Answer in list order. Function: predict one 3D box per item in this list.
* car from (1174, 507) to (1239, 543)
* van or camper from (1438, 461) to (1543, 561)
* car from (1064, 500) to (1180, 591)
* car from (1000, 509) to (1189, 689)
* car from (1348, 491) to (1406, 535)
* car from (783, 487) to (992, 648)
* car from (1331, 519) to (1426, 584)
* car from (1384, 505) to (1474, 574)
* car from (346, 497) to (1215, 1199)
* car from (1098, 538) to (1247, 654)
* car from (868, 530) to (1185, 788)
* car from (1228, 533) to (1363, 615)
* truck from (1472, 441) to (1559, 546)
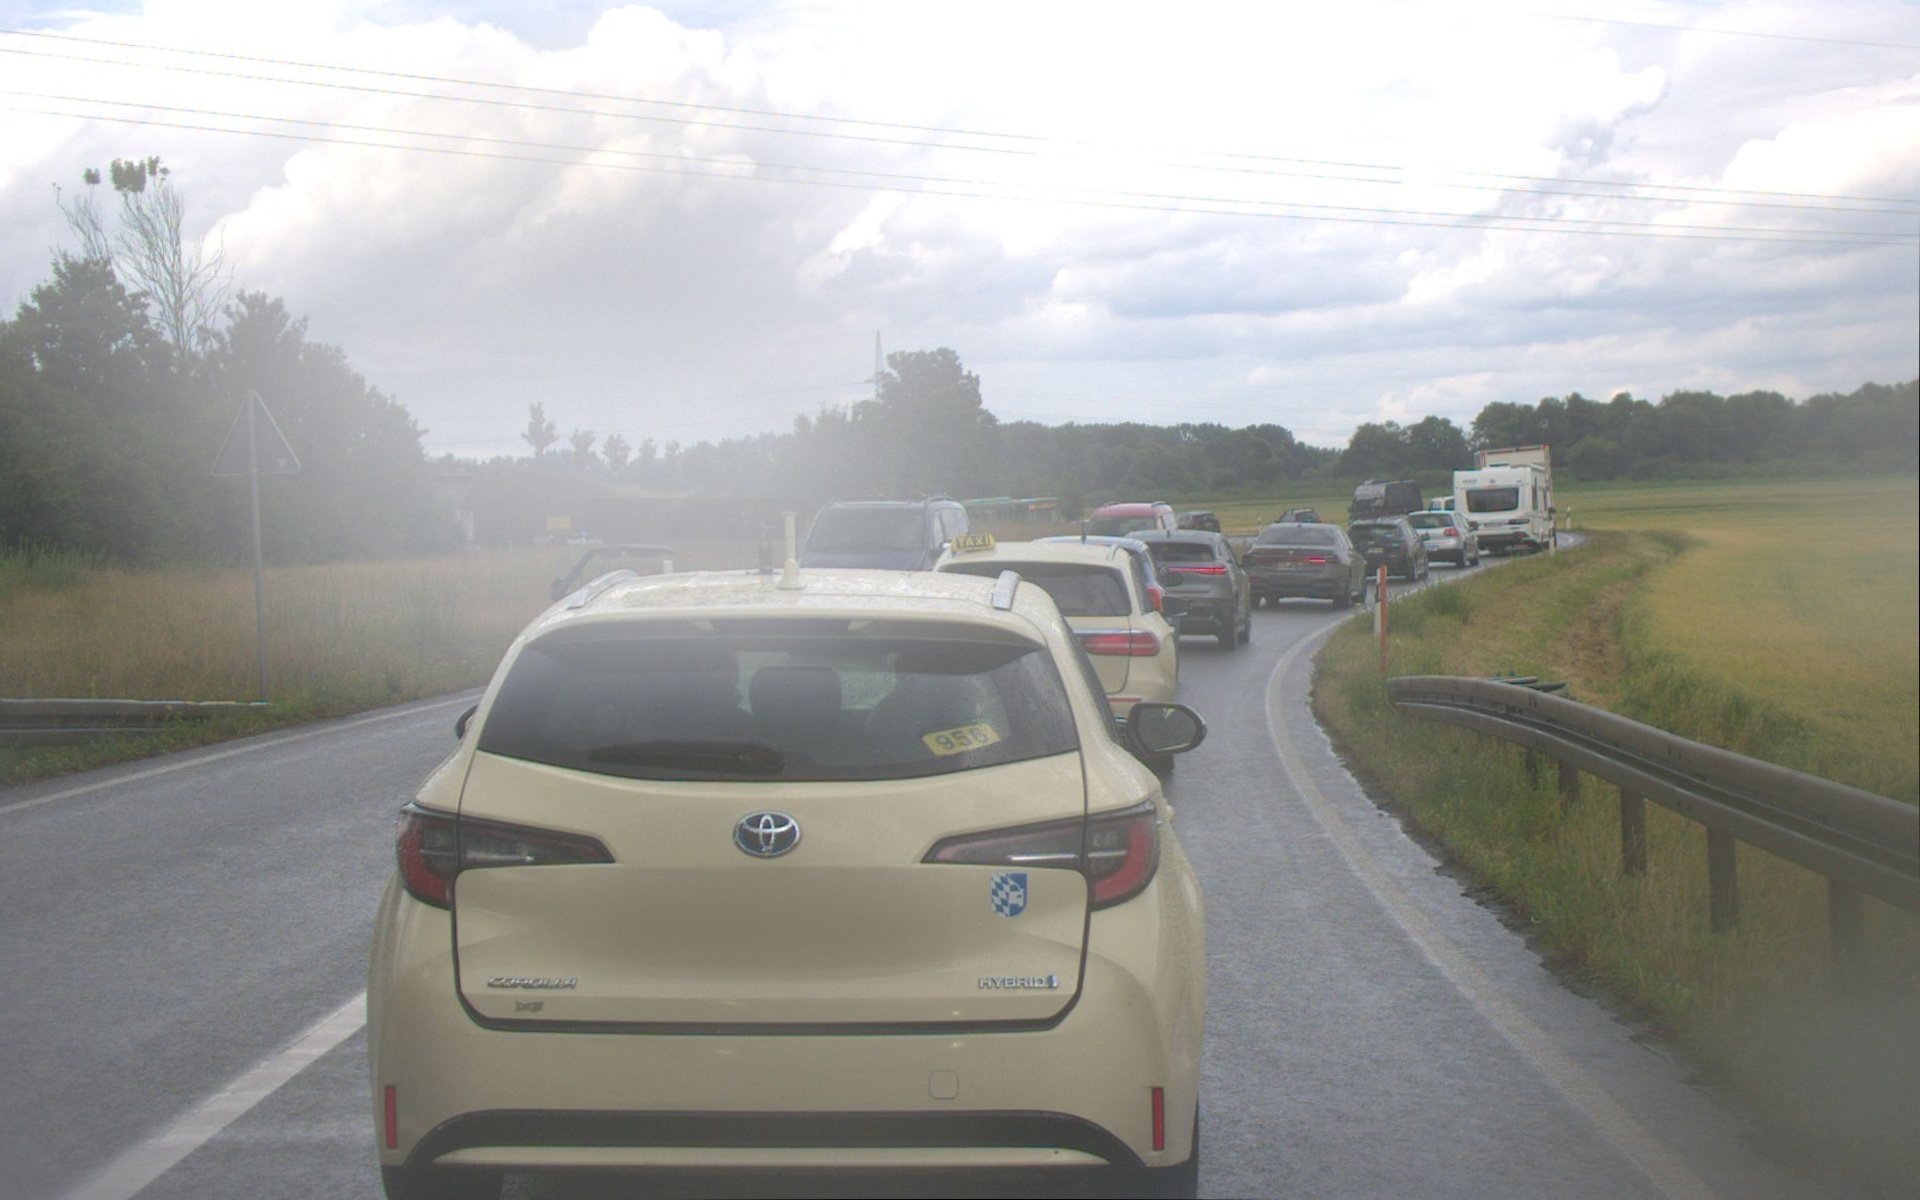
[{"bbox_3d":[13.893,-4.226,193.770,1.911,2.007,4.133,1,1,-24],"label":"car"},{"bbox_3d":[15.983,-2.688,103.242,2.538,2.886,6.739,1,2,14],"label":"van or camper"},{"bbox_3d":[3.465,-1.134,72.751,1.802,1.844,4.518,0,1,11],"label":"car"},{"bbox_3d":[1.370,-0.028,33.797,1.613,1.653,3.737,1,1,6],"label":"car"},{"bbox_3d":[19.933,-4.142,164.551,1.739,2.007,4.148,1,1,-8],"label":"car"},{"bbox_3d":[-0.900,-0.426,45.638,1.963,2.007,4.859,1,1,9],"label":"car"},{"bbox_3d":[9.531,-1.091,78.064,1.826,1.408,3.736,1,1,12],"label":"car"},{"bbox_3d":[12.128,-1.535,88.806,1.961,1.723,3.736,1,1,13],"label":"car"},{"bbox_3d":[-0.325,0.579,8.318,1.613,1.557,3.738,1,1,0],"label":"car"},{"bbox_3d":[2.768,-0.069,44.197,1.613,1.408,3.737,1,1,8],"label":"car"},{"bbox_3d":[0.544,0.307,22.948,1.841,1.487,4.608,1,2,4],"label":"car"},{"bbox_3d":[6.058,-0.467,61.760,1.961,1.408,4.390,1,1,11],"label":"car"},{"bbox_3d":[21.352,-4.037,131.846,3.128,3.839,7.383,1,1,10],"label":"truck"}]
